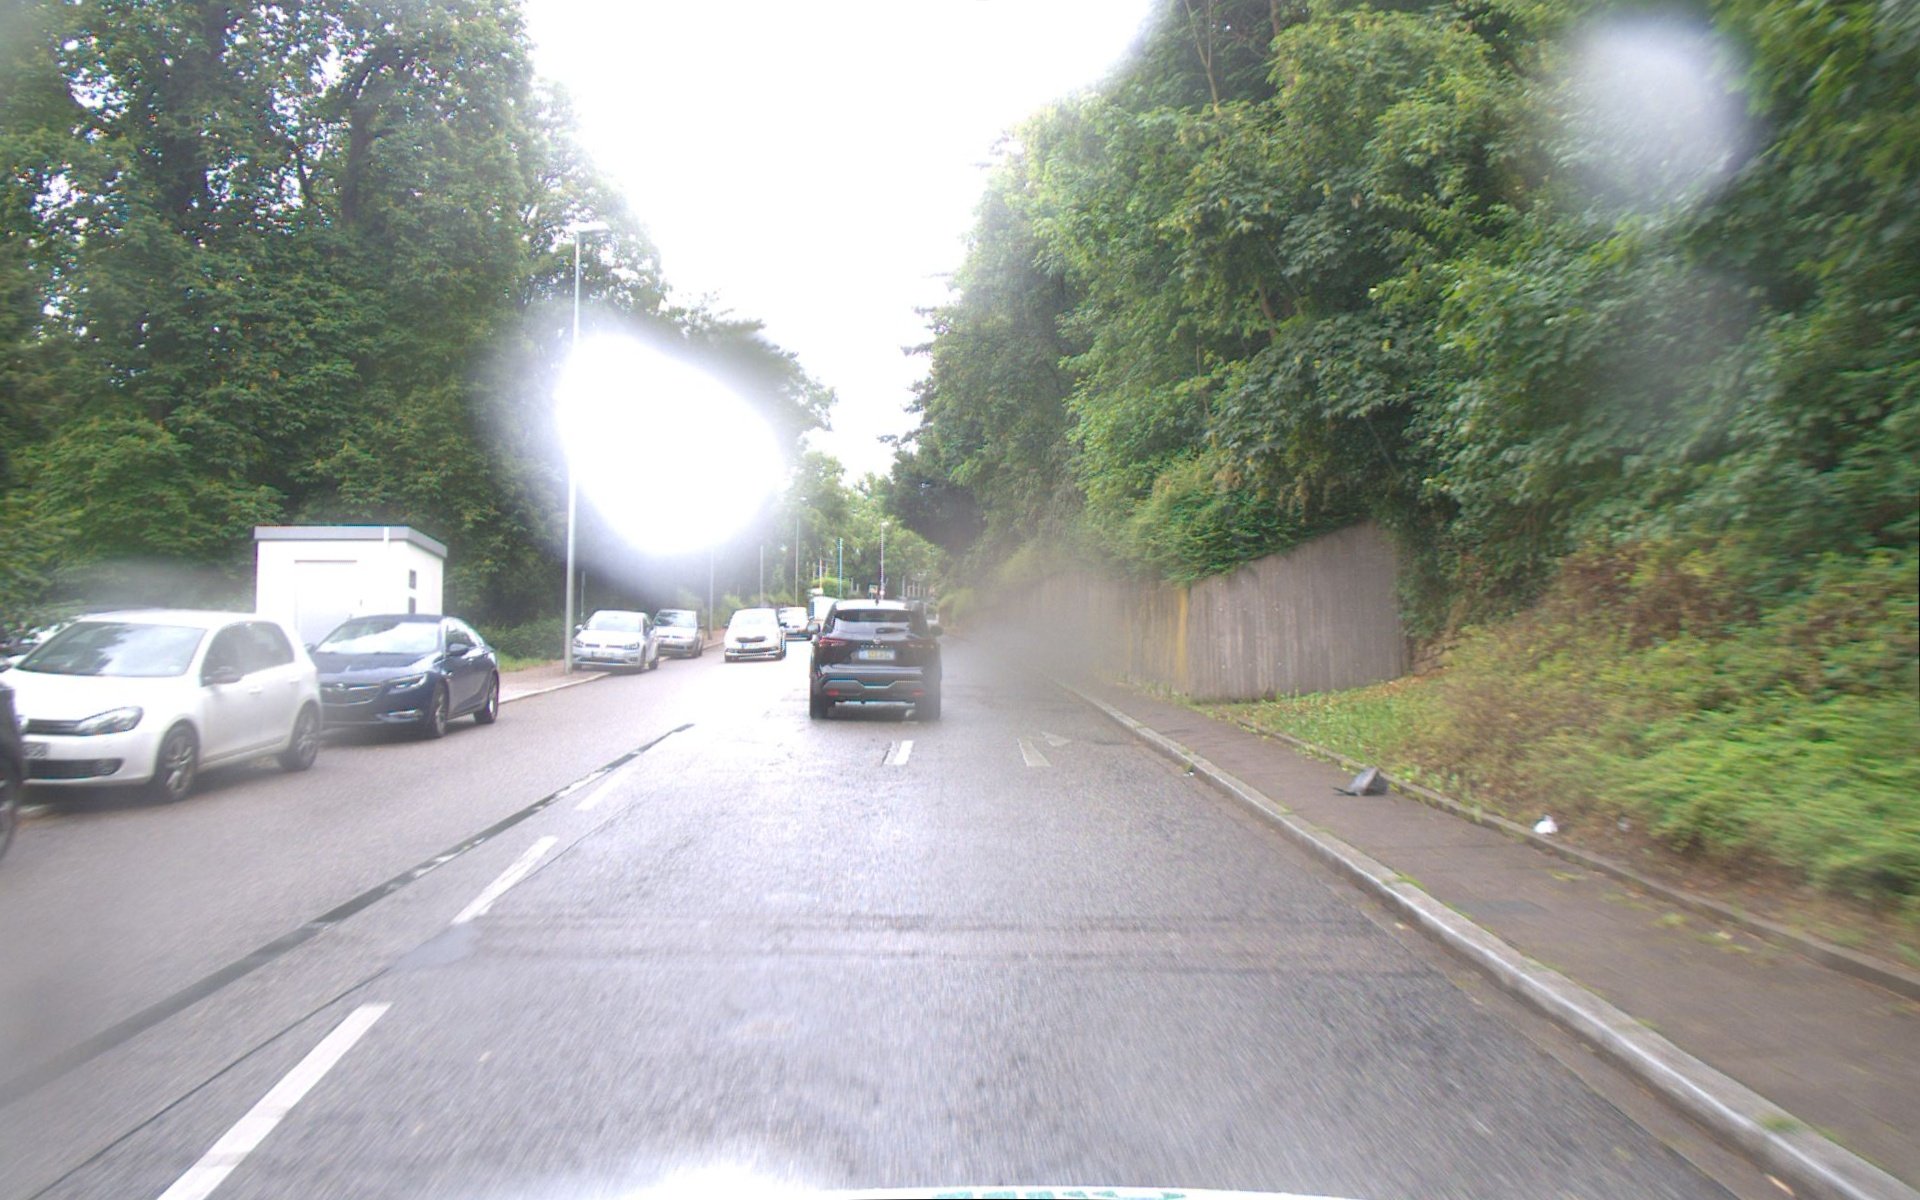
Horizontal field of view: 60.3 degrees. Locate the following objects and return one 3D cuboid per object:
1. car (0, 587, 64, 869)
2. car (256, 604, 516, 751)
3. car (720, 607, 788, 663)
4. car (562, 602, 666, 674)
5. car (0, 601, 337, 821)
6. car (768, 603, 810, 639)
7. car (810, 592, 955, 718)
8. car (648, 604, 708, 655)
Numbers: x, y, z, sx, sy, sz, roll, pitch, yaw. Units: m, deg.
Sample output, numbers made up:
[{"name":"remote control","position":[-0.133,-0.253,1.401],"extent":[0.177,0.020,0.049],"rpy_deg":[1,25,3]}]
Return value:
[{"name":"car","position":[-6.378,0.779,8.138],"extent":[1.611,1.632,4.185],"rpy_deg":[-3,0,0]},{"name":"car","position":[-7.094,0.870,20.984],"extent":[1.823,1.519,4.752],"rpy_deg":[-4,0,-4]},{"name":"car","position":[-5.978,0.990,48.409],"extent":[1.691,1.460,3.909],"rpy_deg":[-3,0,-4]},{"name":"car","position":[-8.606,0.908,41.511],"extent":[1.849,1.640,4.236],"rpy_deg":[-3,0,-3]},{"name":"car","position":[-7.002,0.828,14.323],"extent":[1.622,1.597,4.148],"rpy_deg":[-1,0,0]},{"name":"car","position":[-7.627,0.903,74.133],"extent":[1.726,1.517,3.996],"rpy_deg":[-2,0,-4]},{"name":"car","position":[-1.134,0.726,23.707],"extent":[1.890,1.641,3.997],"rpy_deg":[0,0,-4]},{"name":"car","position":[-9.013,0.913,53.120],"extent":[1.594,1.525,3.923],"rpy_deg":[2,0,-6]}]
